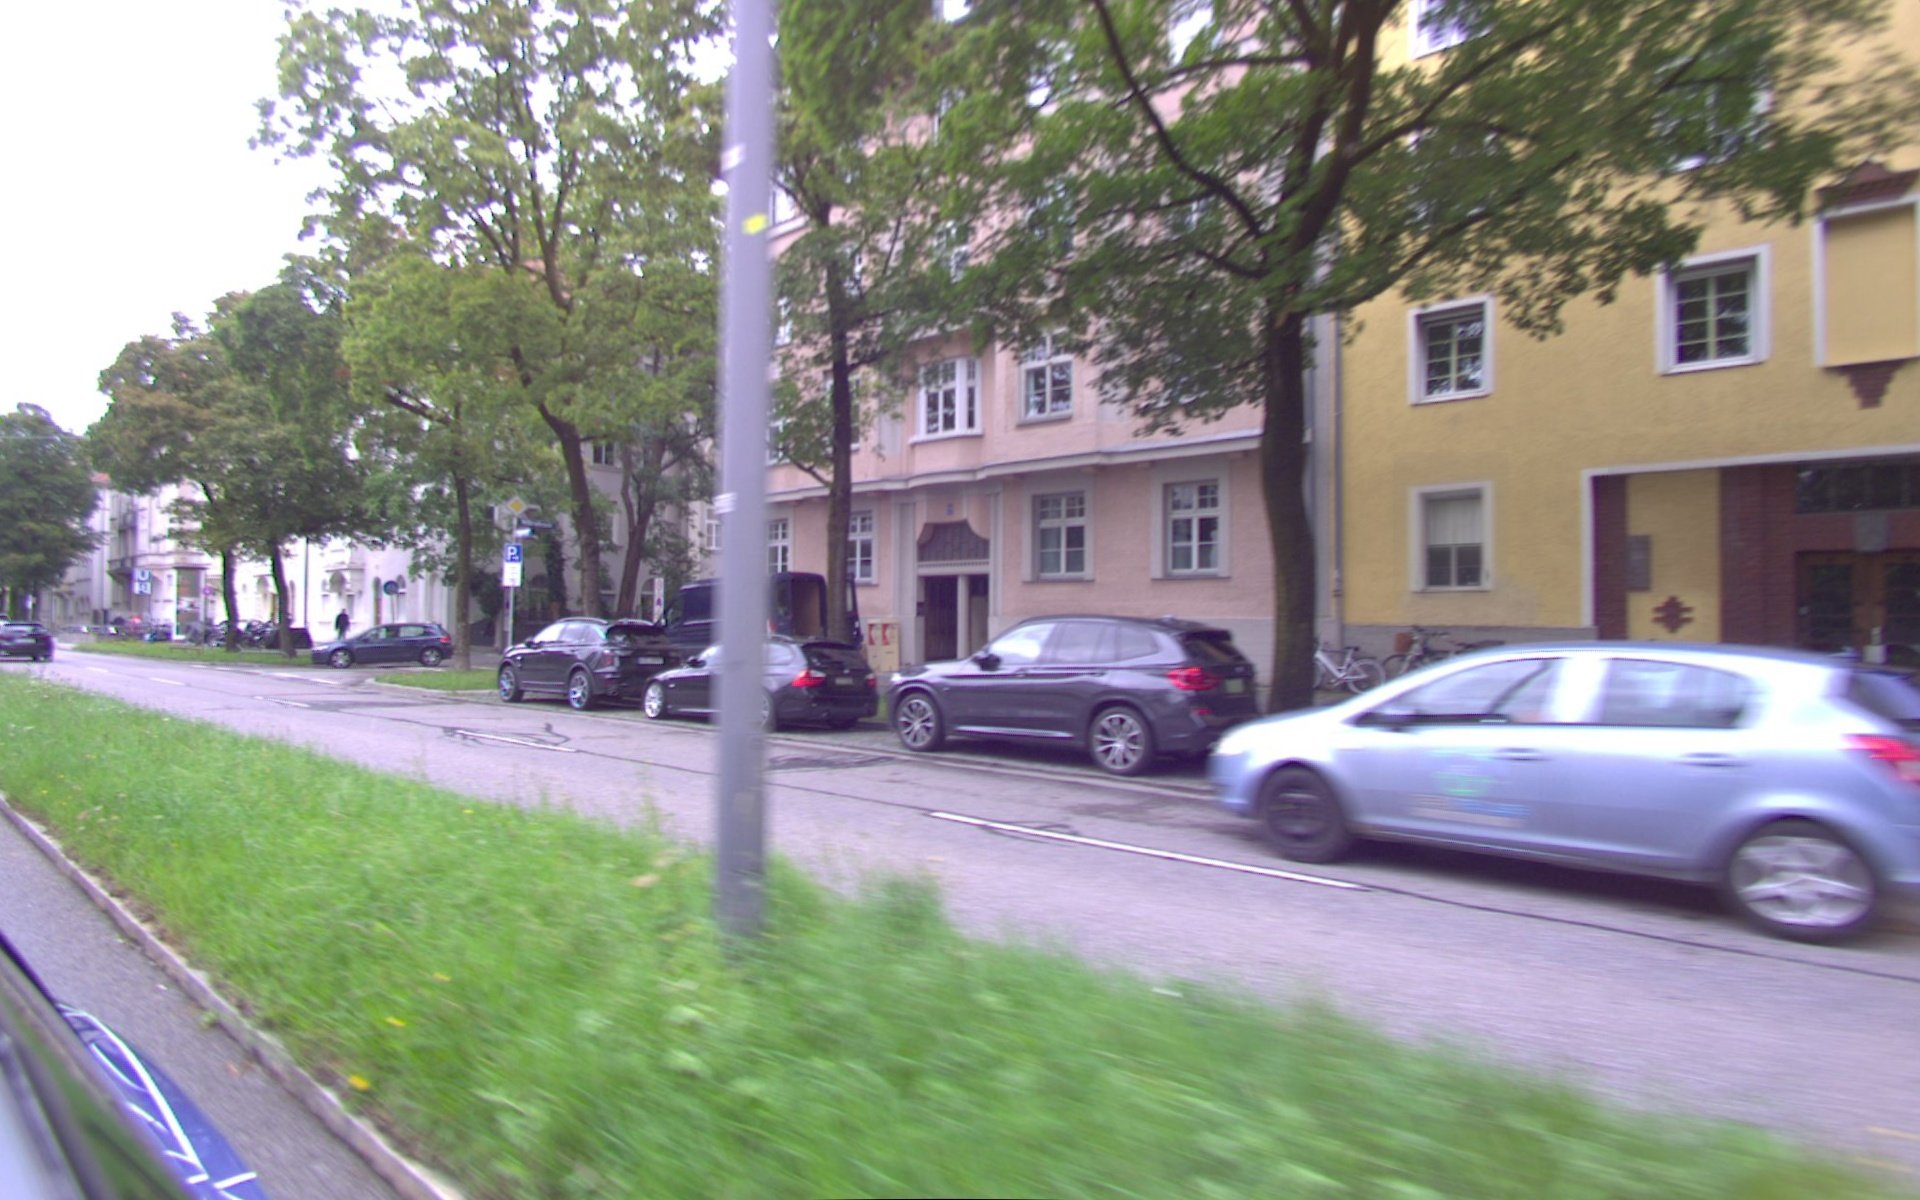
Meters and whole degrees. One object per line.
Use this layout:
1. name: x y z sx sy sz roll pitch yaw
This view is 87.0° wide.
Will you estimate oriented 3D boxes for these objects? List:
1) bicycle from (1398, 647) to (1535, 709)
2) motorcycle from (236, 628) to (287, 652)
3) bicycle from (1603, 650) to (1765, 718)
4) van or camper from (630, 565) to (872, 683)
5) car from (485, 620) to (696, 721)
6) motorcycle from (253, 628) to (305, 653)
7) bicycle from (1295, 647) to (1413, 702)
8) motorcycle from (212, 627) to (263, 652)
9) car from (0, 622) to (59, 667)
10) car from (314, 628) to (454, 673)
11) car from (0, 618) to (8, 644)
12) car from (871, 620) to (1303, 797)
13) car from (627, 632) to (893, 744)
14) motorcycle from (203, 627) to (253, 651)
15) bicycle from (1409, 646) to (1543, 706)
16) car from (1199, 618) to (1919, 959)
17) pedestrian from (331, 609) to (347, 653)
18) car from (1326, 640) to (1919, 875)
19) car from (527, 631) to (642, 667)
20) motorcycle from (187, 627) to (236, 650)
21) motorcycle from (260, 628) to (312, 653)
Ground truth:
1. bicycle: 8.223 1.244 16.493 1.929 0.906 0.536 -1 -2 41
2. motorcycle: -33.737 1.916 48.919 1.926 1.158 0.597 0 -1 -11
3. bicycle: 10.834 1.232 15.185 1.929 0.906 0.536 -1 -2 41
4. van or camper: -5.430 0.602 25.512 6.847 2.599 2.321 -1 -2 41
5. car: -7.097 1.229 19.217 4.436 1.699 1.854 -1 -2 41
6. motorcycle: -32.192 1.903 47.859 1.926 1.158 0.597 0 -1 -11
7. bicycle: 7.045 1.310 18.159 1.929 0.906 0.479 -1 -2 41
8. motorcycle: -35.352 1.928 49.526 1.926 1.158 0.597 0 -1 -11
9. car: -33.518 1.549 35.838 4.321 1.518 1.792 -1 -4 41
10. car: -19.084 1.642 33.566 3.932 1.386 1.867 0 -2 -33
11. car: -75.924 2.442 79.143 3.998 2.029 1.767 -1 -2 41
12. car: 1.286 1.063 11.756 4.767 1.658 1.859 -1 -2 41
13. car: -3.216 1.245 15.740 4.490 1.465 1.675 -1 -2 41
14. motorcycle: -36.497 1.935 50.462 1.926 1.158 0.597 0 -1 -11
15. bicycle: 8.607 1.247 16.947 1.929 0.906 0.536 -1 -2 41
16. car: 3.739 0.915 6.222 4.055 1.518 1.792 -1 -4 41
17. pedestrian: -29.563 1.474 48.203 0.590 2.075 0.686 1 -2 -30
18. car: 5.428 1.069 8.138 4.361 1.416 1.709 -1 -2 41
19. car: -14.876 1.911 40.210 1.793 1.332 3.947 -1 -2 39
20. motorcycle: -38.002 1.952 51.412 1.924 1.158 0.598 1 -2 -29
21. motorcycle: -31.188 1.864 46.856 1.926 1.158 0.597 0 -1 -11
